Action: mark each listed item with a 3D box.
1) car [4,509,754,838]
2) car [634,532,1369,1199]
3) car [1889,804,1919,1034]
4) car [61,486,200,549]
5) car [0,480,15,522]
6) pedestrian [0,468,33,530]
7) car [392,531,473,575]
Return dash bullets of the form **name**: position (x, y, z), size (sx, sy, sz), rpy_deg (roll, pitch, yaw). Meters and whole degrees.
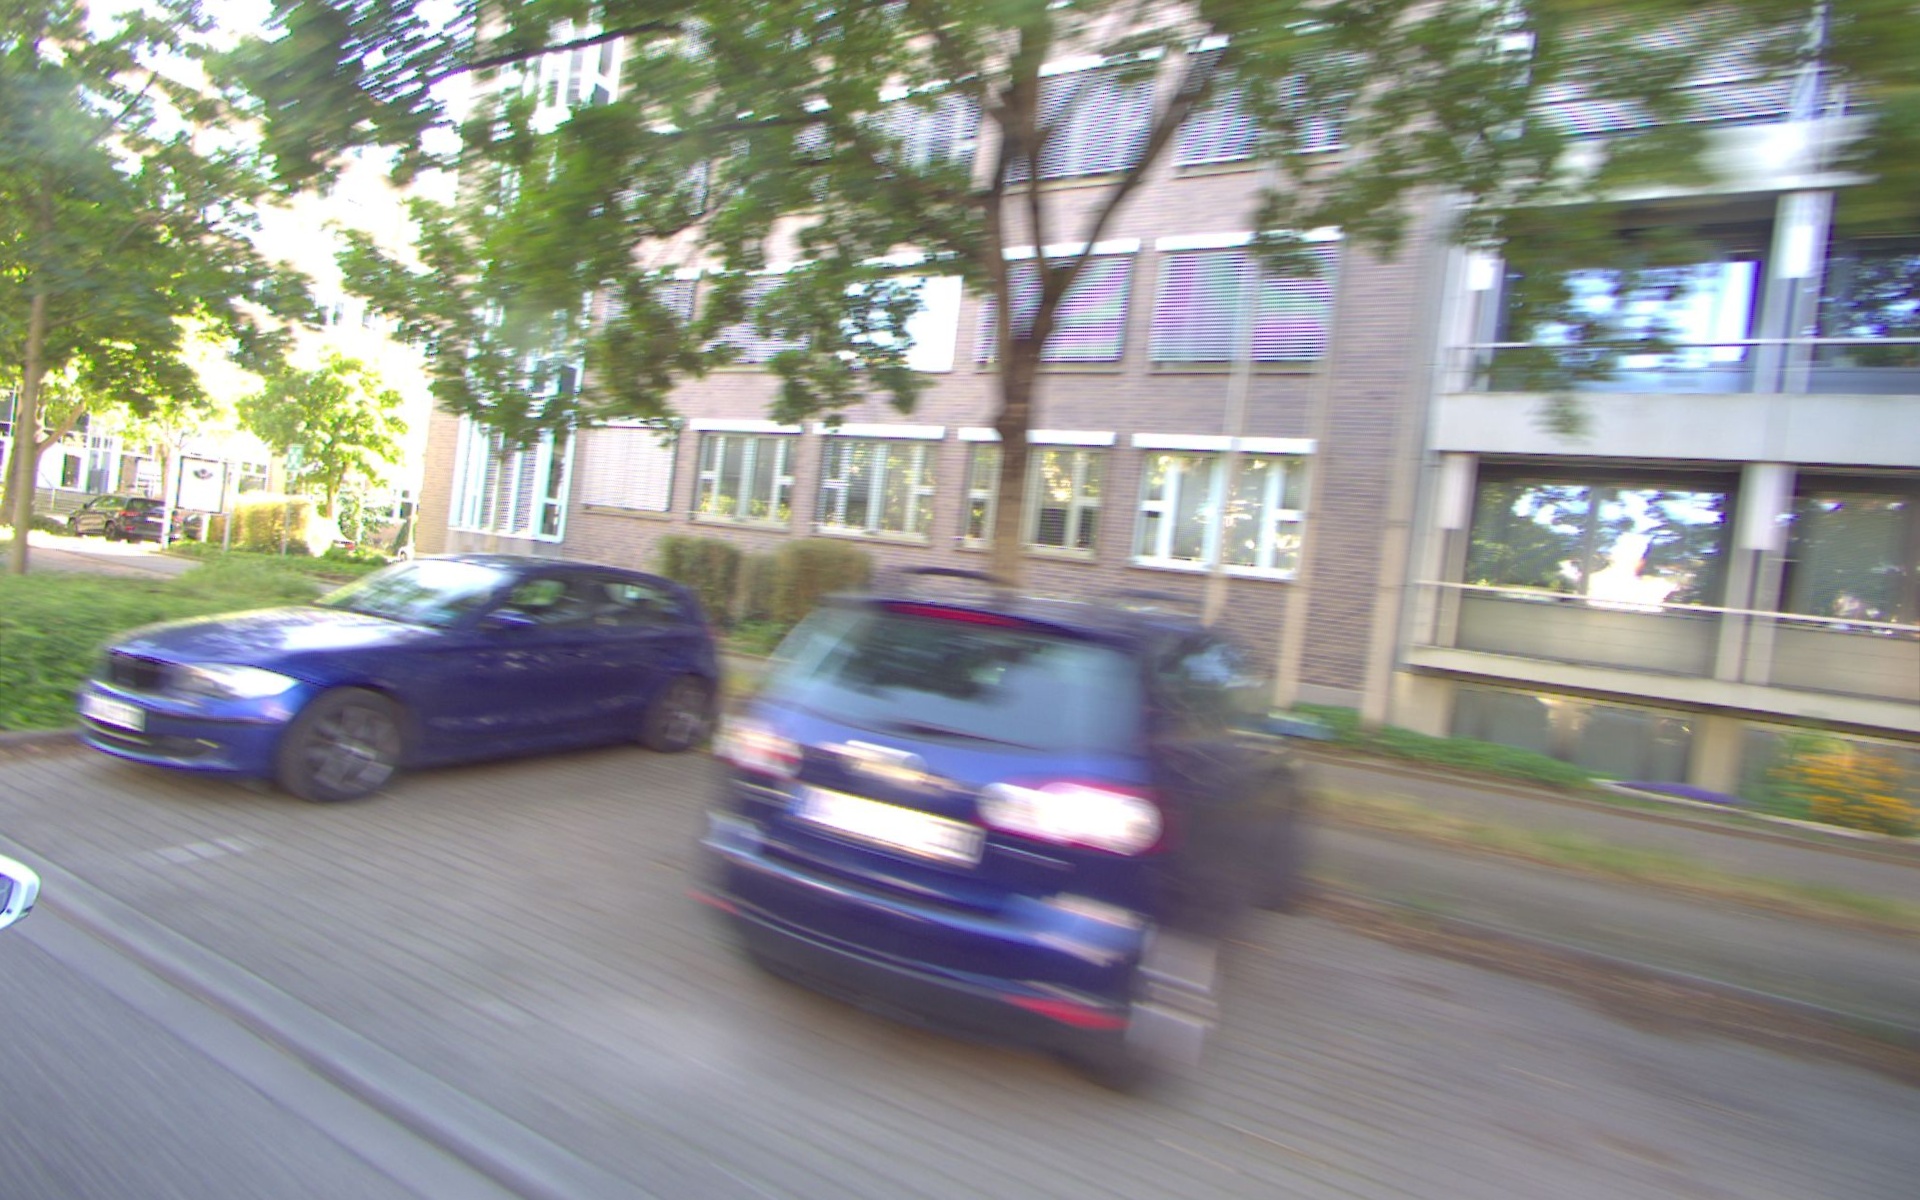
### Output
- **car**: position (-3.369, 0.364, 6.789), size (1.625, 1.388, 4.122), rpy_deg (7, 2, 25)
- **car**: position (0.692, 0.715, 4.716), size (1.632, 1.610, 4.128), rpy_deg (6, 1, 29)
- **car**: position (4.420, 1.268, 2.579), size (1.630, 1.480, 4.132), rpy_deg (7, 2, 25)
- **car**: position (-26.470, -2.646, 32.091), size (4.289, 1.584, 1.742), rpy_deg (5, -2, 27)
- **car**: position (-37.392, -3.933, 37.721), size (3.850, 1.480, 1.655), rpy_deg (8, 0, 29)
- **pedestrian**: position (-26.041, -2.770, 27.601), size (0.636, 1.602, 0.539), rpy_deg (8, 1, 20)
- **car**: position (-28.673, -2.559, 54.651), size (4.043, 1.745, 1.921), rpy_deg (9, 1, 31)
